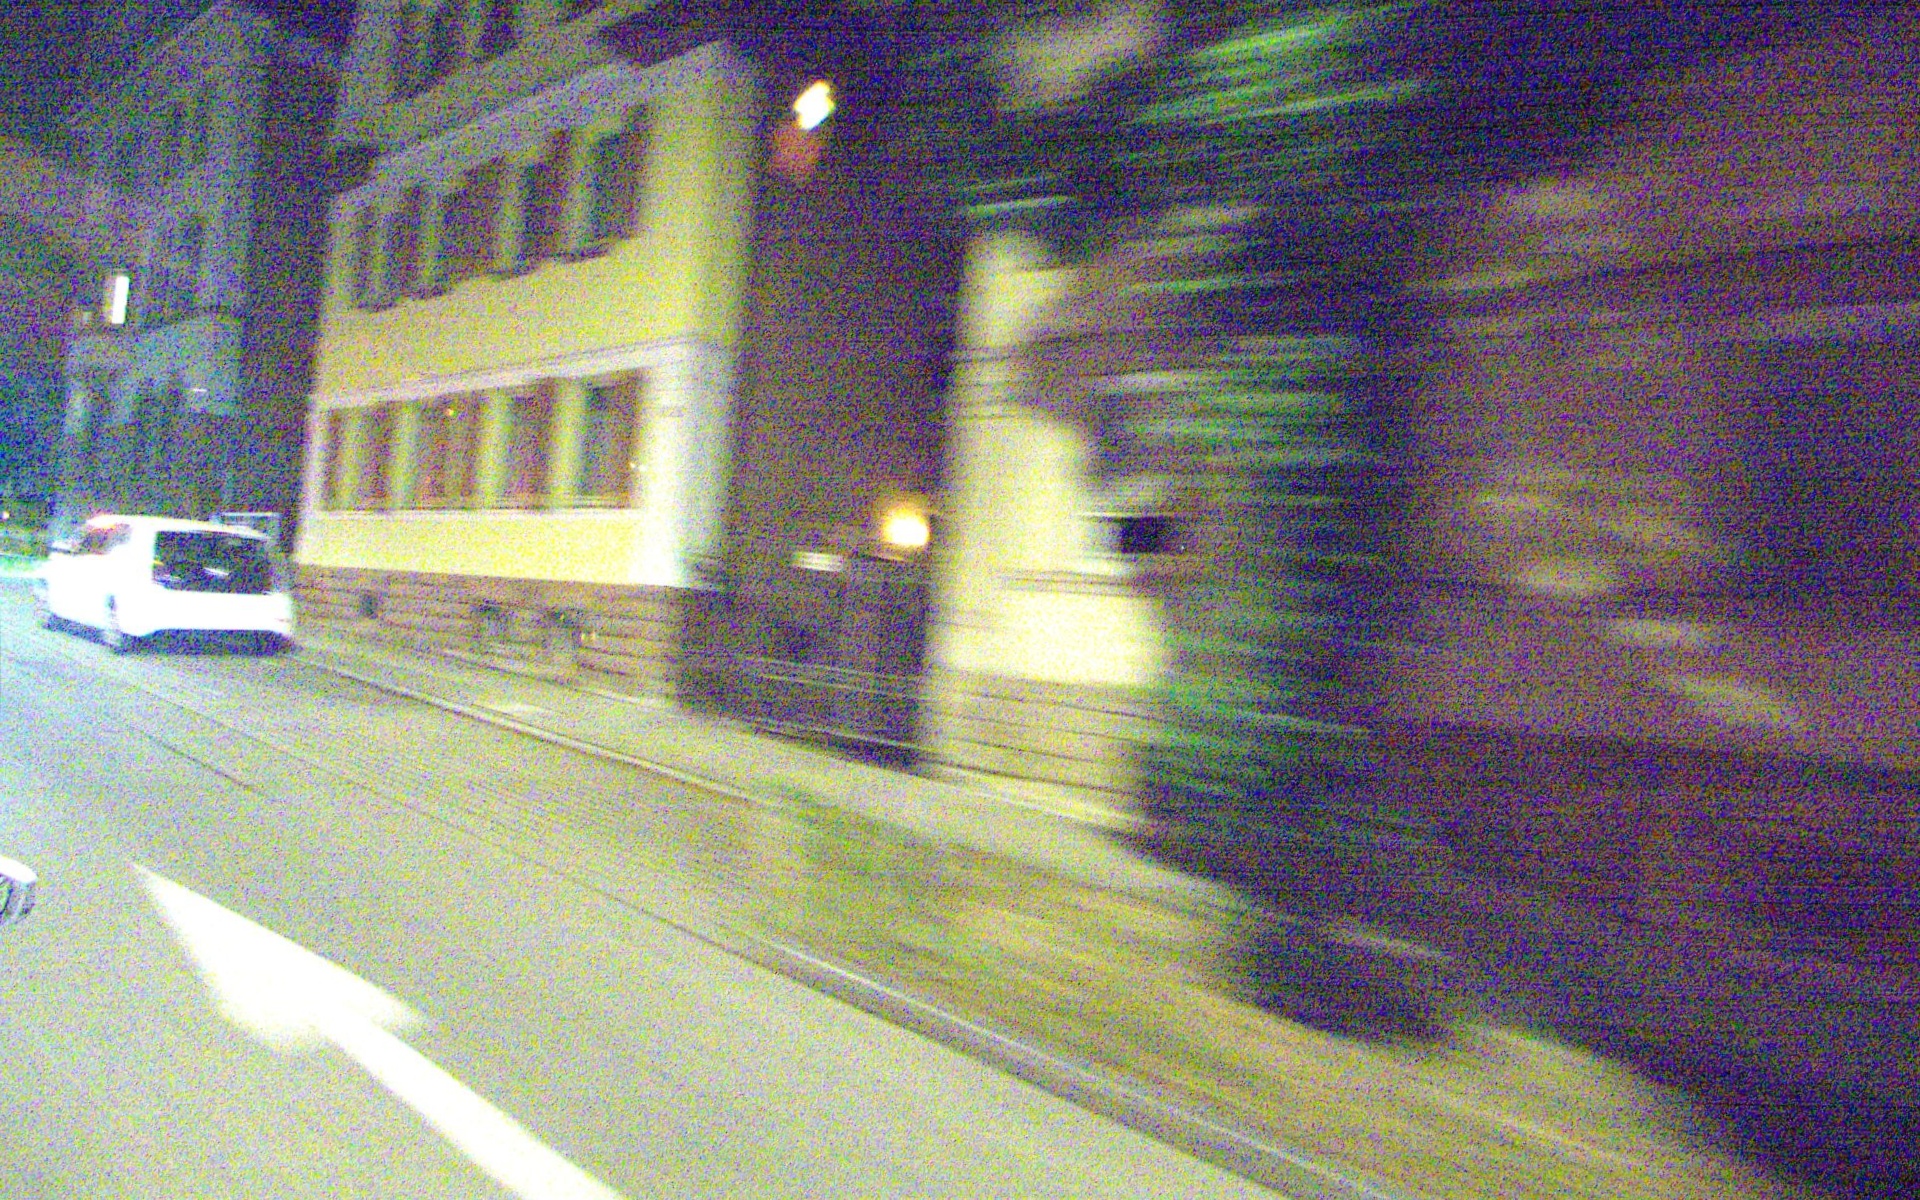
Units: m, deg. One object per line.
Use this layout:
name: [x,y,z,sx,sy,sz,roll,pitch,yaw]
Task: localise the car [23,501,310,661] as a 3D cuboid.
car: [-9.566,-0.246,12.066,3.546,1.504,1.667,7,1,35]
